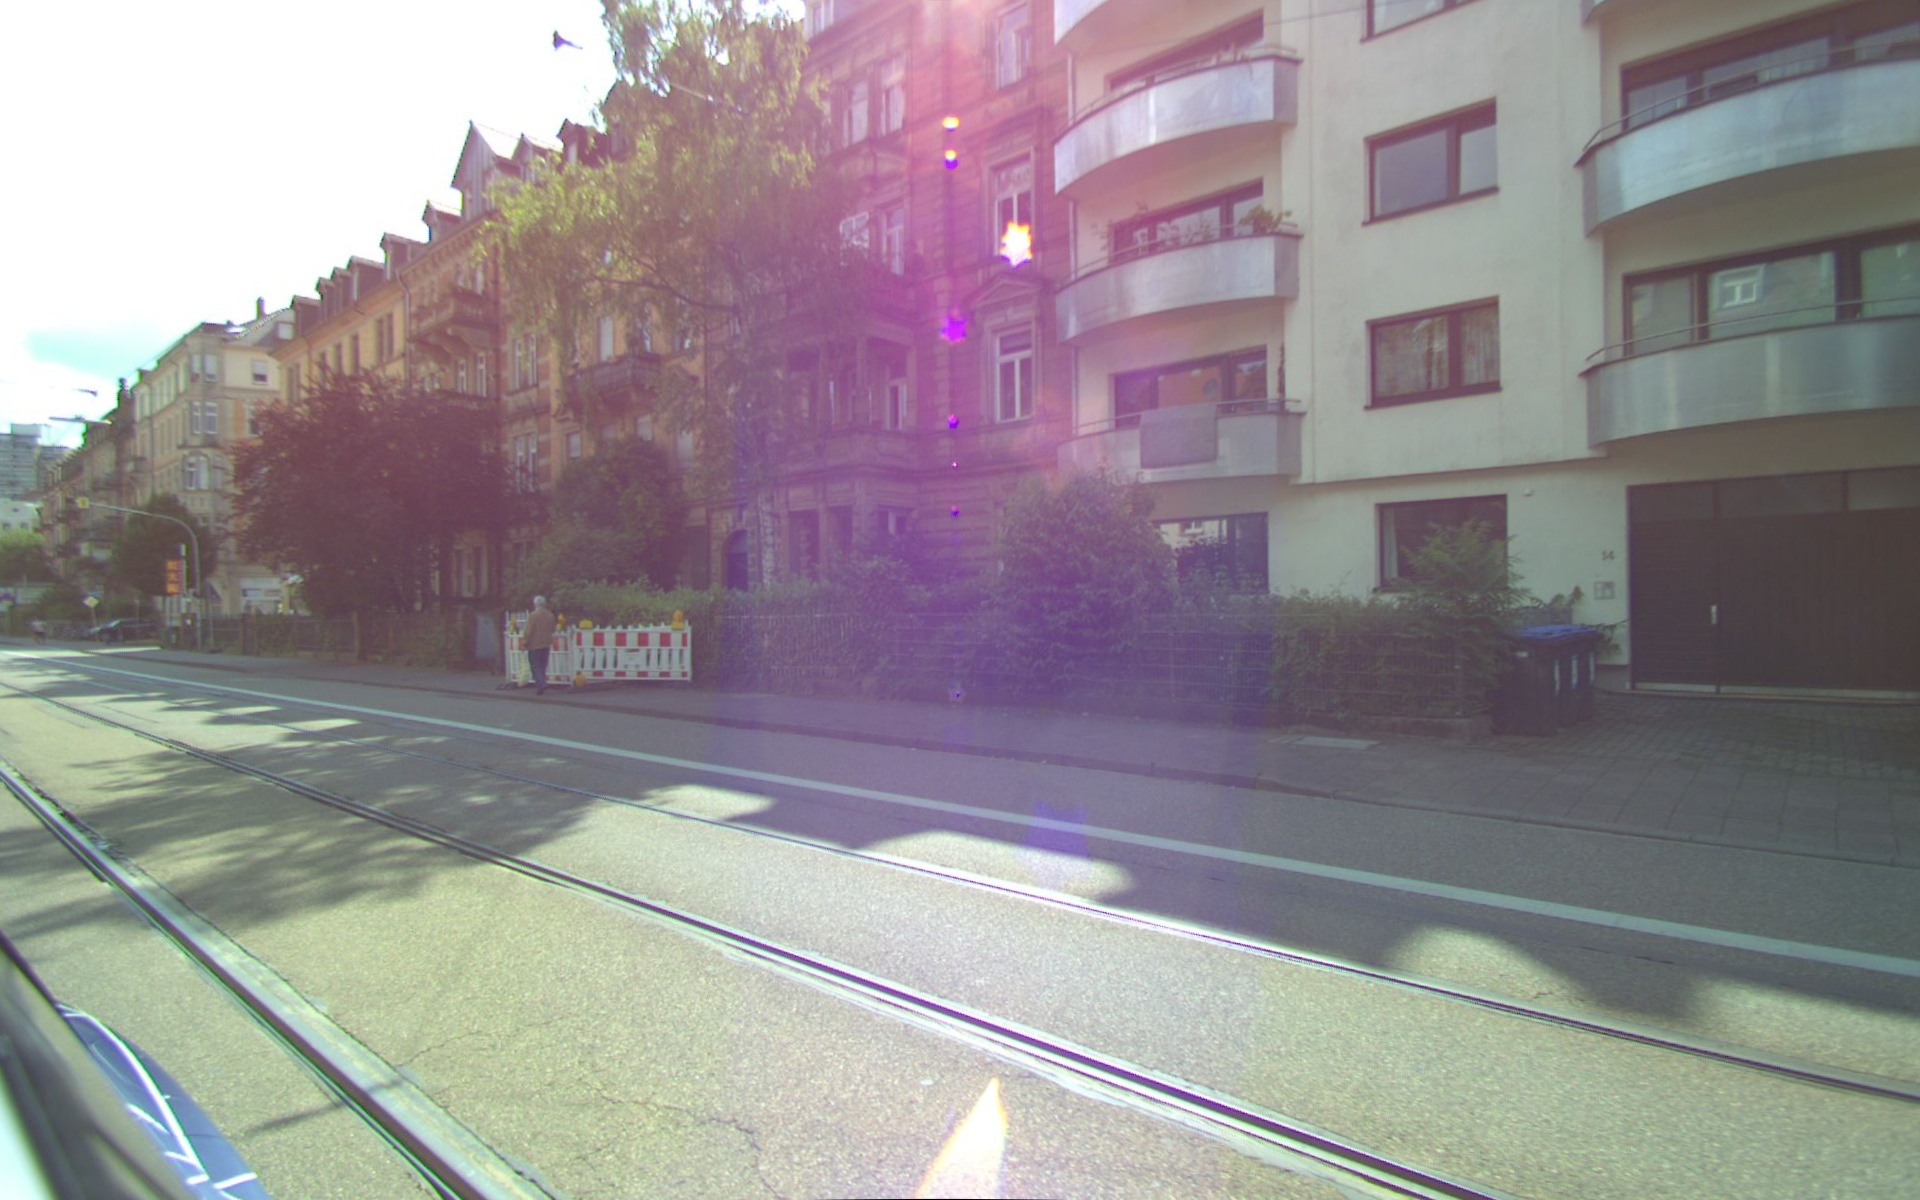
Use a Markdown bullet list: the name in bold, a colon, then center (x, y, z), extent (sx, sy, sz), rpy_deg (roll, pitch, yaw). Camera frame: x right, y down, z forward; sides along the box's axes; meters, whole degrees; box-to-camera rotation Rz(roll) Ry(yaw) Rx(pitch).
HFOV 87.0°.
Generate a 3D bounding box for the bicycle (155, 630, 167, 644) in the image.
- **bicycle**: center (-49.507, 2.322, 62.714), extent (0.516, 0.844, 1.702), rpy_deg (0, -2, -36)

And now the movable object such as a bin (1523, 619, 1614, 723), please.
- **movable object such as a bin**: center (6.835, 0.779, 11.369), extent (0.789, 1.102, 0.532), rpy_deg (0, 0, 42)

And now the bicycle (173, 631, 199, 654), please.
- **bicycle**: center (-32.873, 1.808, 42.972), extent (1.967, 0.954, 0.524), rpy_deg (-2, -1, 41)

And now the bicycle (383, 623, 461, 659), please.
- **bicycle**: center (-16.448, 1.246, 30.974), extent (0.465, 1.027, 2.188), rpy_deg (-1, -1, 30)

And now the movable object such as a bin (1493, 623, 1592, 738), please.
- **movable object such as a bin**: center (5.974, 0.802, 10.384), extent (0.789, 1.102, 0.532), rpy_deg (0, 0, 42)

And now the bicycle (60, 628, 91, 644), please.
- **bicycle**: center (-57.636, 2.359, 65.952), extent (0.404, 0.984, 1.437), rpy_deg (-2, -2, 41)

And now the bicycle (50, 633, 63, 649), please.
- **bicycle**: center (-60.379, 2.738, 67.644), extent (1.948, 0.984, 0.417), rpy_deg (-2, -1, 41)

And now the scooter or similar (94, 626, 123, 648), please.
- **scooter or similar**: center (-51.016, 2.233, 60.667), extent (0.400, 1.244, 1.360), rpy_deg (-1, 0, 12)

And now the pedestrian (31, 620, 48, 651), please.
- **pedestrian**: center (-53.965, 2.079, 59.316), extent (1.105, 1.773, 0.527), rpy_deg (-2, 1, 41)

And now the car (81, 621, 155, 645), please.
- **car**: center (-55.145, 2.140, 66.306), extent (3.562, 1.413, 1.788), rpy_deg (-1, -1, -45)

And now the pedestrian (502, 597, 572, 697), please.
- **pedestrian**: center (-7.512, 0.820, 17.983), extent (0.890, 1.719, 0.814), rpy_deg (-1, -1, 38)

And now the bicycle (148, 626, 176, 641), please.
- **bicycle**: center (-54.932, 2.301, 69.678), extent (0.404, 0.984, 1.437), rpy_deg (-2, -2, 41)

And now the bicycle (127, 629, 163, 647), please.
- **bicycle**: center (-51.606, 2.413, 64.097), extent (0.523, 1.071, 1.738), rpy_deg (-2, -2, 35)

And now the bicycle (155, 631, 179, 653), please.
- **bicycle**: center (-35.520, 1.858, 45.319), extent (1.967, 0.954, 0.524), rpy_deg (-2, -1, 41)

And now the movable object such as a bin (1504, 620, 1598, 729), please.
- **movable object such as a bin**: center (6.372, 0.780, 10.910), extent (0.789, 1.102, 0.532), rpy_deg (0, 0, 42)
